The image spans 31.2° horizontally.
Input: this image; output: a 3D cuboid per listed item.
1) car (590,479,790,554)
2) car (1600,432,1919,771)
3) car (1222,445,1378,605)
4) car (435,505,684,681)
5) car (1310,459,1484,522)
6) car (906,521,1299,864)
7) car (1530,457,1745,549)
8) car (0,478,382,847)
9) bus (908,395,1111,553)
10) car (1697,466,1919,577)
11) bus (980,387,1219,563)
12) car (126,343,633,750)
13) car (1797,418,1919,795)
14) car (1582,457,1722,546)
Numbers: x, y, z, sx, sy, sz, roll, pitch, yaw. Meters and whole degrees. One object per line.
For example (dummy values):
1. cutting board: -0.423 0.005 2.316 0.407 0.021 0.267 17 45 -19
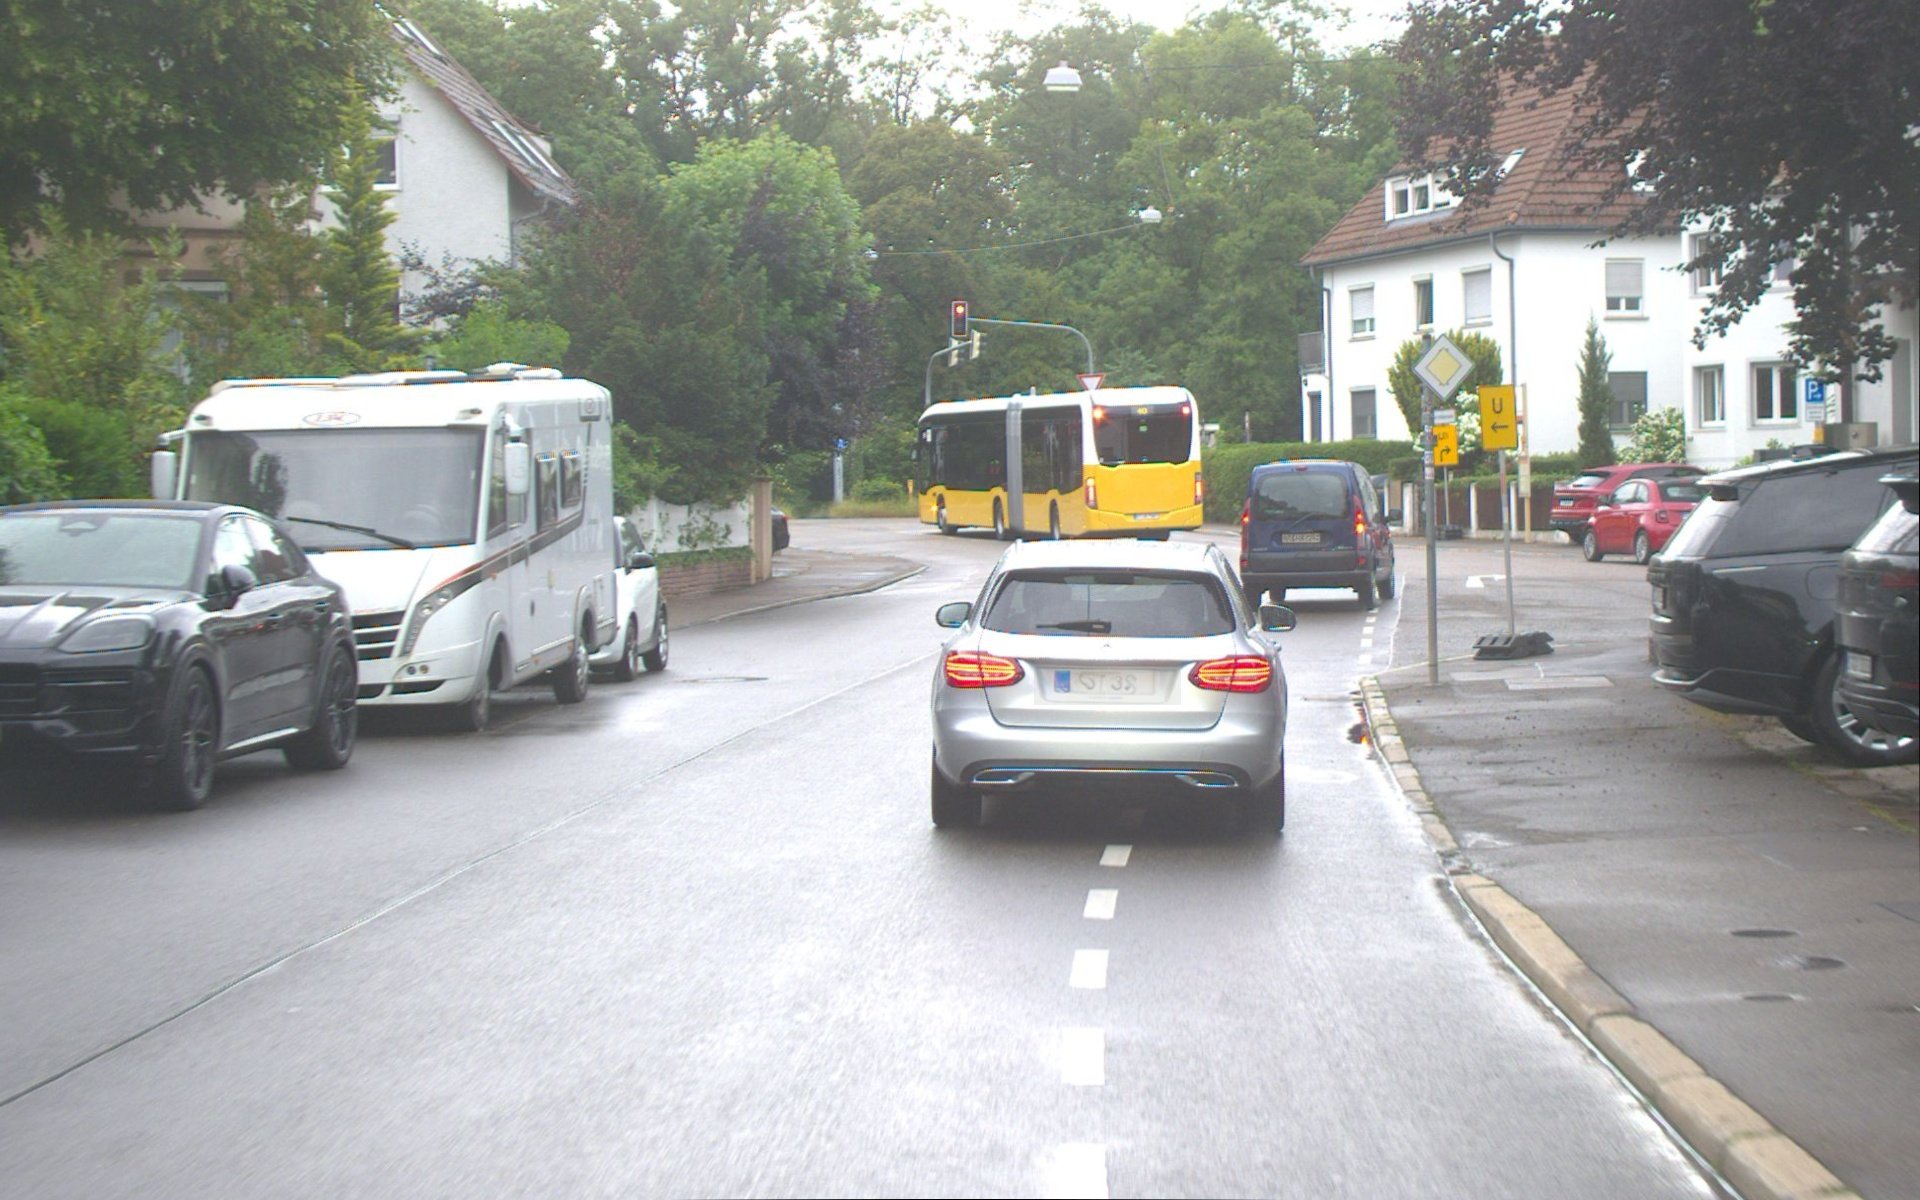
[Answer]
1. car: -5.475 -1.705 69.858 3.986 1.415 1.888 0 3 -4
2. car: 6.381 -0.099 20.646 4.662 1.868 2.000 -3 2 2
3. car: 4.231 -0.935 43.183 1.843 1.897 4.000 1 1 4
4. car: -3.728 -0.109 32.459 1.713 1.442 3.255 1 3 5
5. car: 11.048 -2.775 87.072 3.986 1.525 1.760 0 3 -13
6. car: 0.857 0.384 18.104 1.816 1.551 3.999 1 2 6
7. car: 13.930 -2.004 70.802 3.986 1.787 1.759 0 3 -5
8. car: -4.813 0.223 19.303 1.994 1.682 4.676 1 3 5
9. bus: 1.096 -3.245 85.534 2.927 3.638 10.307 0 4 -11
10. car: 13.535 -1.288 54.969 1.806 1.603 4.066 0 4 -14
11. bus: 2.937 -2.904 76.480 2.927 3.638 10.173 0 4 -11
12. car: -4.304 -0.531 26.832 2.391 2.762 6.531 1 3 4
13. car: 6.840 -0.111 17.420 4.662 1.806 2.000 -3 2 2
14. car: 12.091 -1.739 60.229 1.205 1.446 3.023 0 4 -14
